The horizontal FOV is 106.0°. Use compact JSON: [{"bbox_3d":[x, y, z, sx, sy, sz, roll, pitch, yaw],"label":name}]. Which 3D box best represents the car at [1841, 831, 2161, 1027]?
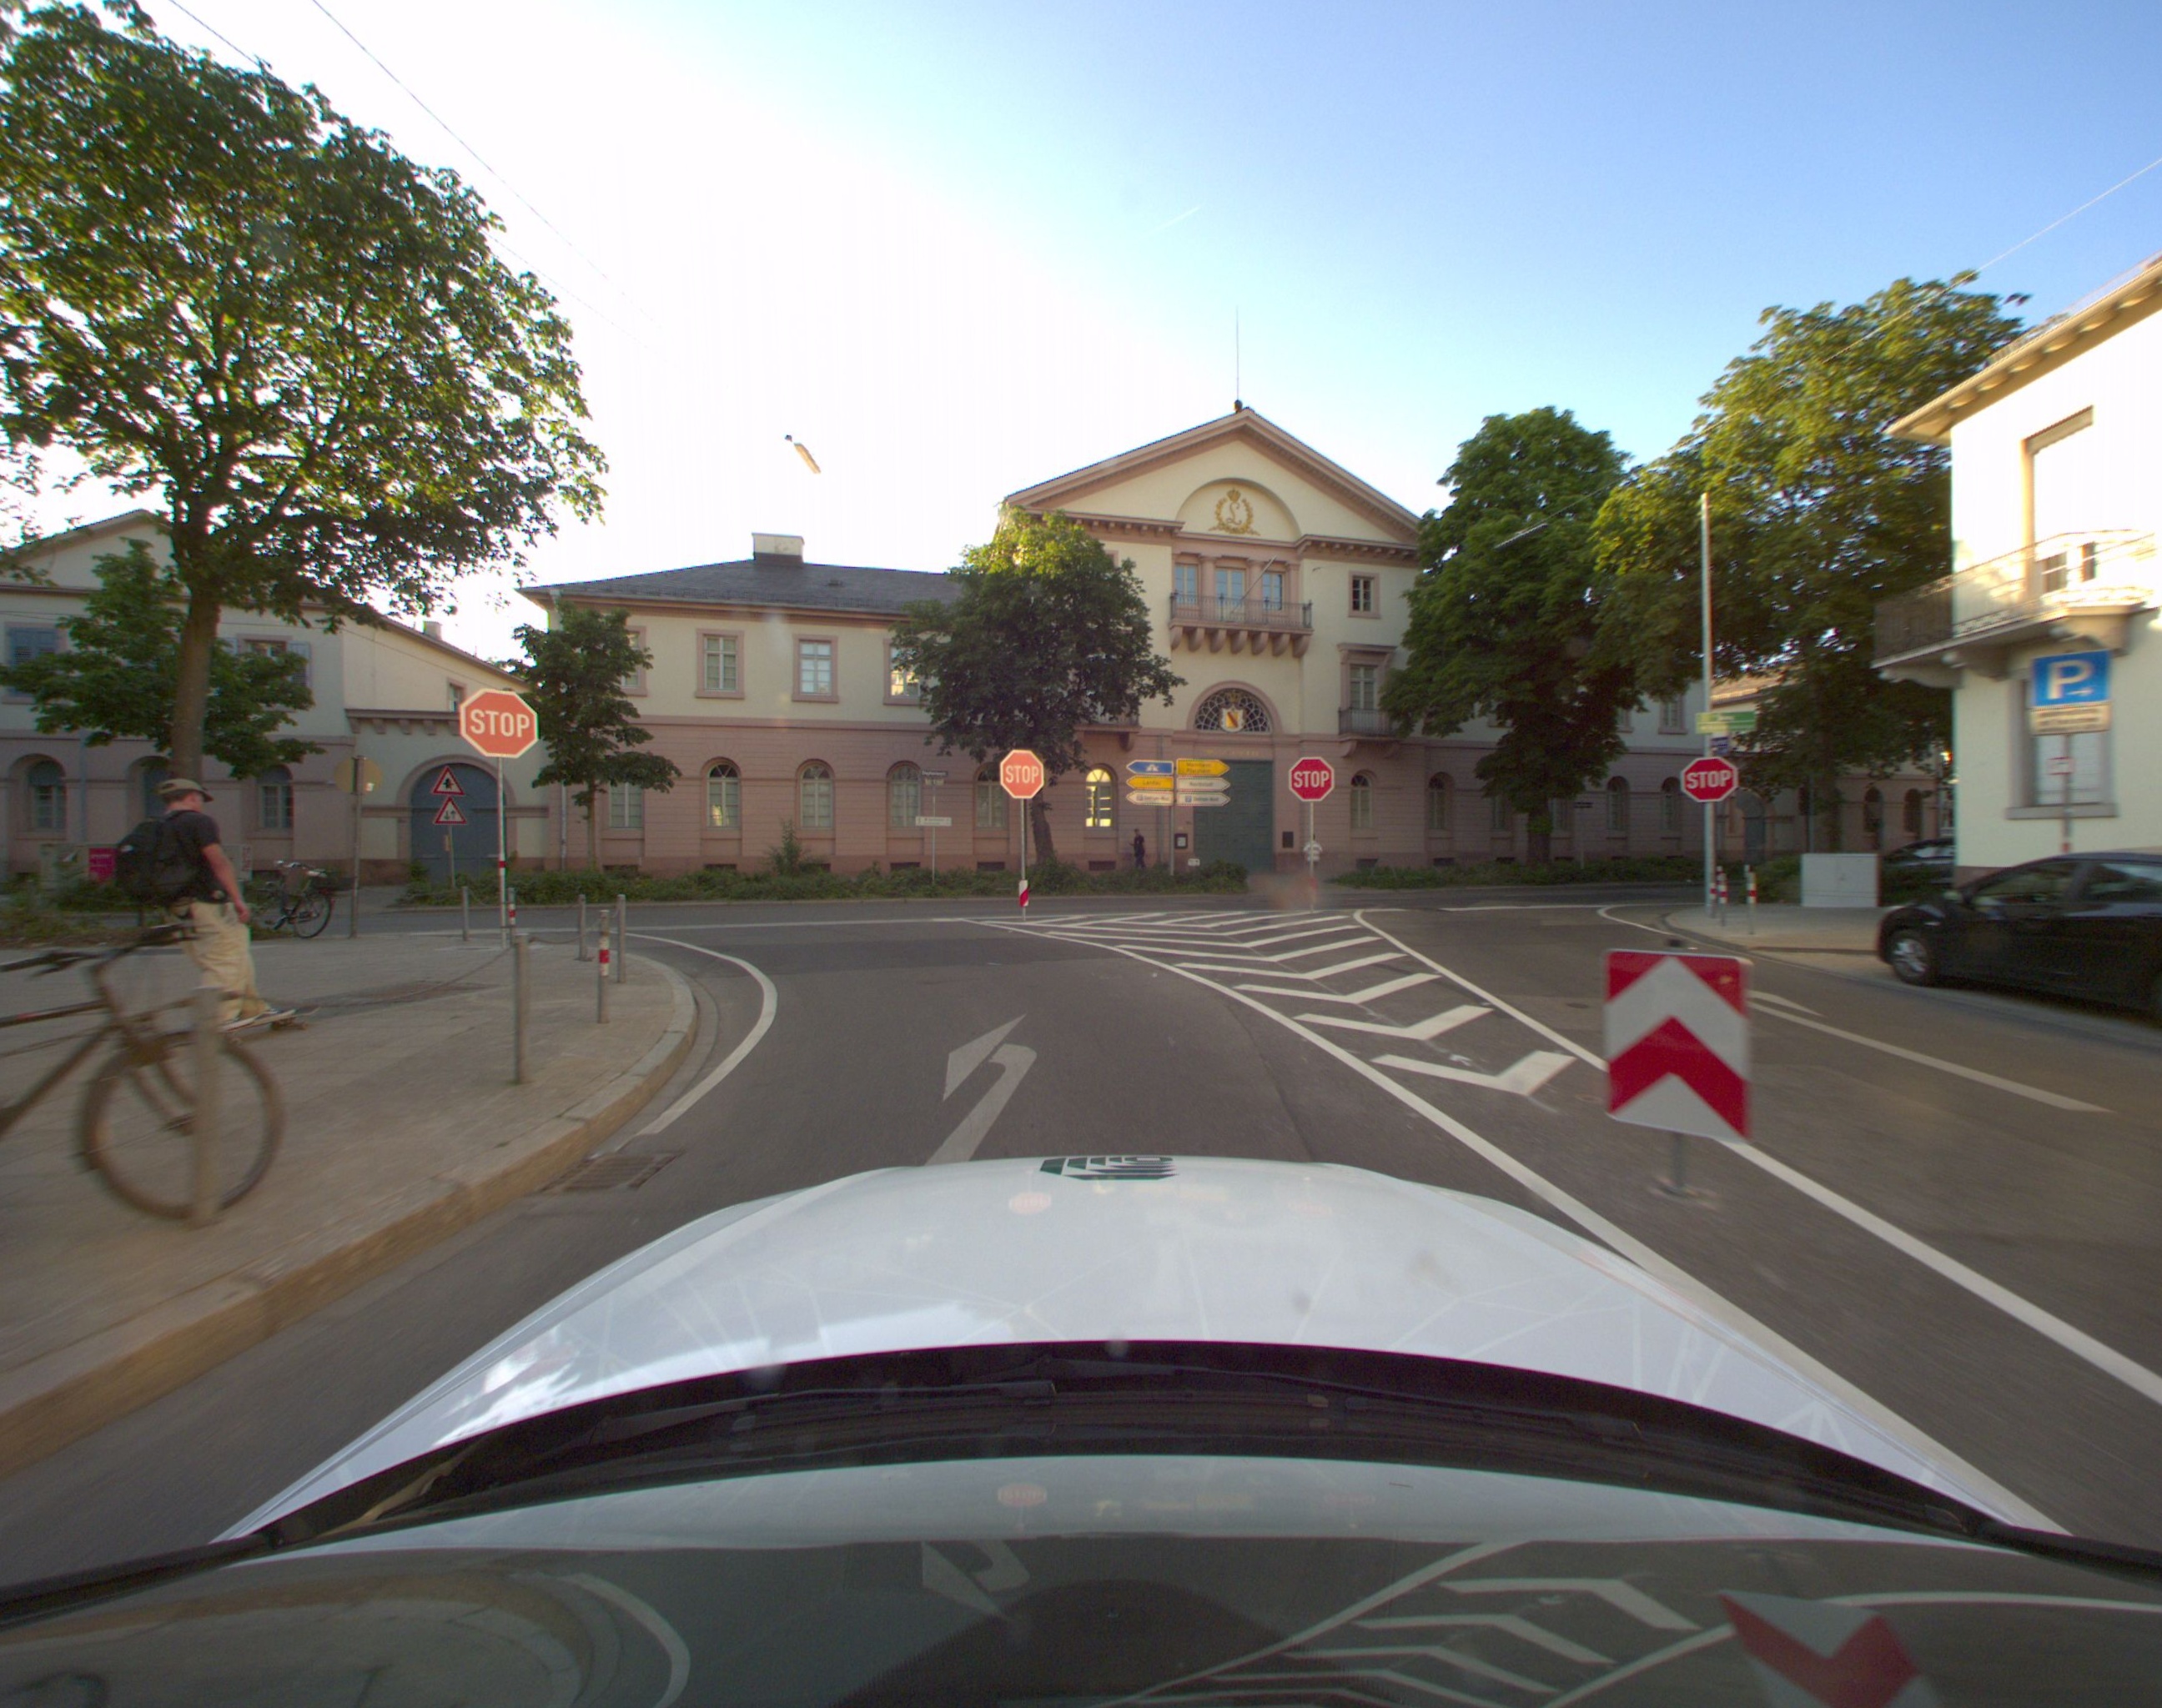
[{"bbox_3d":[9.580,0.573,7.401,1.790,1.541,4.444,0,1,10],"label":"car"}]

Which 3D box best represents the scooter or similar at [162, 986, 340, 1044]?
[{"bbox_3d":[-5.638,1.088,5.583,0.417,0.207,0.879,1,0,-10],"label":"scooter or similar"}]

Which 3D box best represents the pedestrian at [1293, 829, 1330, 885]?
[{"bbox_3d":[7.635,0.091,26.994,0.928,1.832,0.796,-1,0,-17],"label":"pedestrian"}]

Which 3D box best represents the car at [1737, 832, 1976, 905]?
[{"bbox_3d":[19.087,0.293,20.306,1.826,1.615,3.981,-1,1,-14],"label":"car"}]

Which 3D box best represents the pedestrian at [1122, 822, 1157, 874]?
[{"bbox_3d":[2.121,-0.212,29.471,1.080,1.839,0.797,-1,0,-13],"label":"pedestrian"}]

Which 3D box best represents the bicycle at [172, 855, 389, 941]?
[{"bbox_3d":[-12.368,0.660,12.638,2.554,1.267,0.846,0,1,2],"label":"bicycle"}]

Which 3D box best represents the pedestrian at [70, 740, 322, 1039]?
[{"bbox_3d":[-5.835,0.188,5.475,0.854,1.738,1.253,2,1,-34],"label":"pedestrian"}]

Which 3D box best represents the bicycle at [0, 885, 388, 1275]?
[{"bbox_3d":[-3.635,0.729,2.764,0.720,1.125,1.812,3,1,18],"label":"bicycle"}]
